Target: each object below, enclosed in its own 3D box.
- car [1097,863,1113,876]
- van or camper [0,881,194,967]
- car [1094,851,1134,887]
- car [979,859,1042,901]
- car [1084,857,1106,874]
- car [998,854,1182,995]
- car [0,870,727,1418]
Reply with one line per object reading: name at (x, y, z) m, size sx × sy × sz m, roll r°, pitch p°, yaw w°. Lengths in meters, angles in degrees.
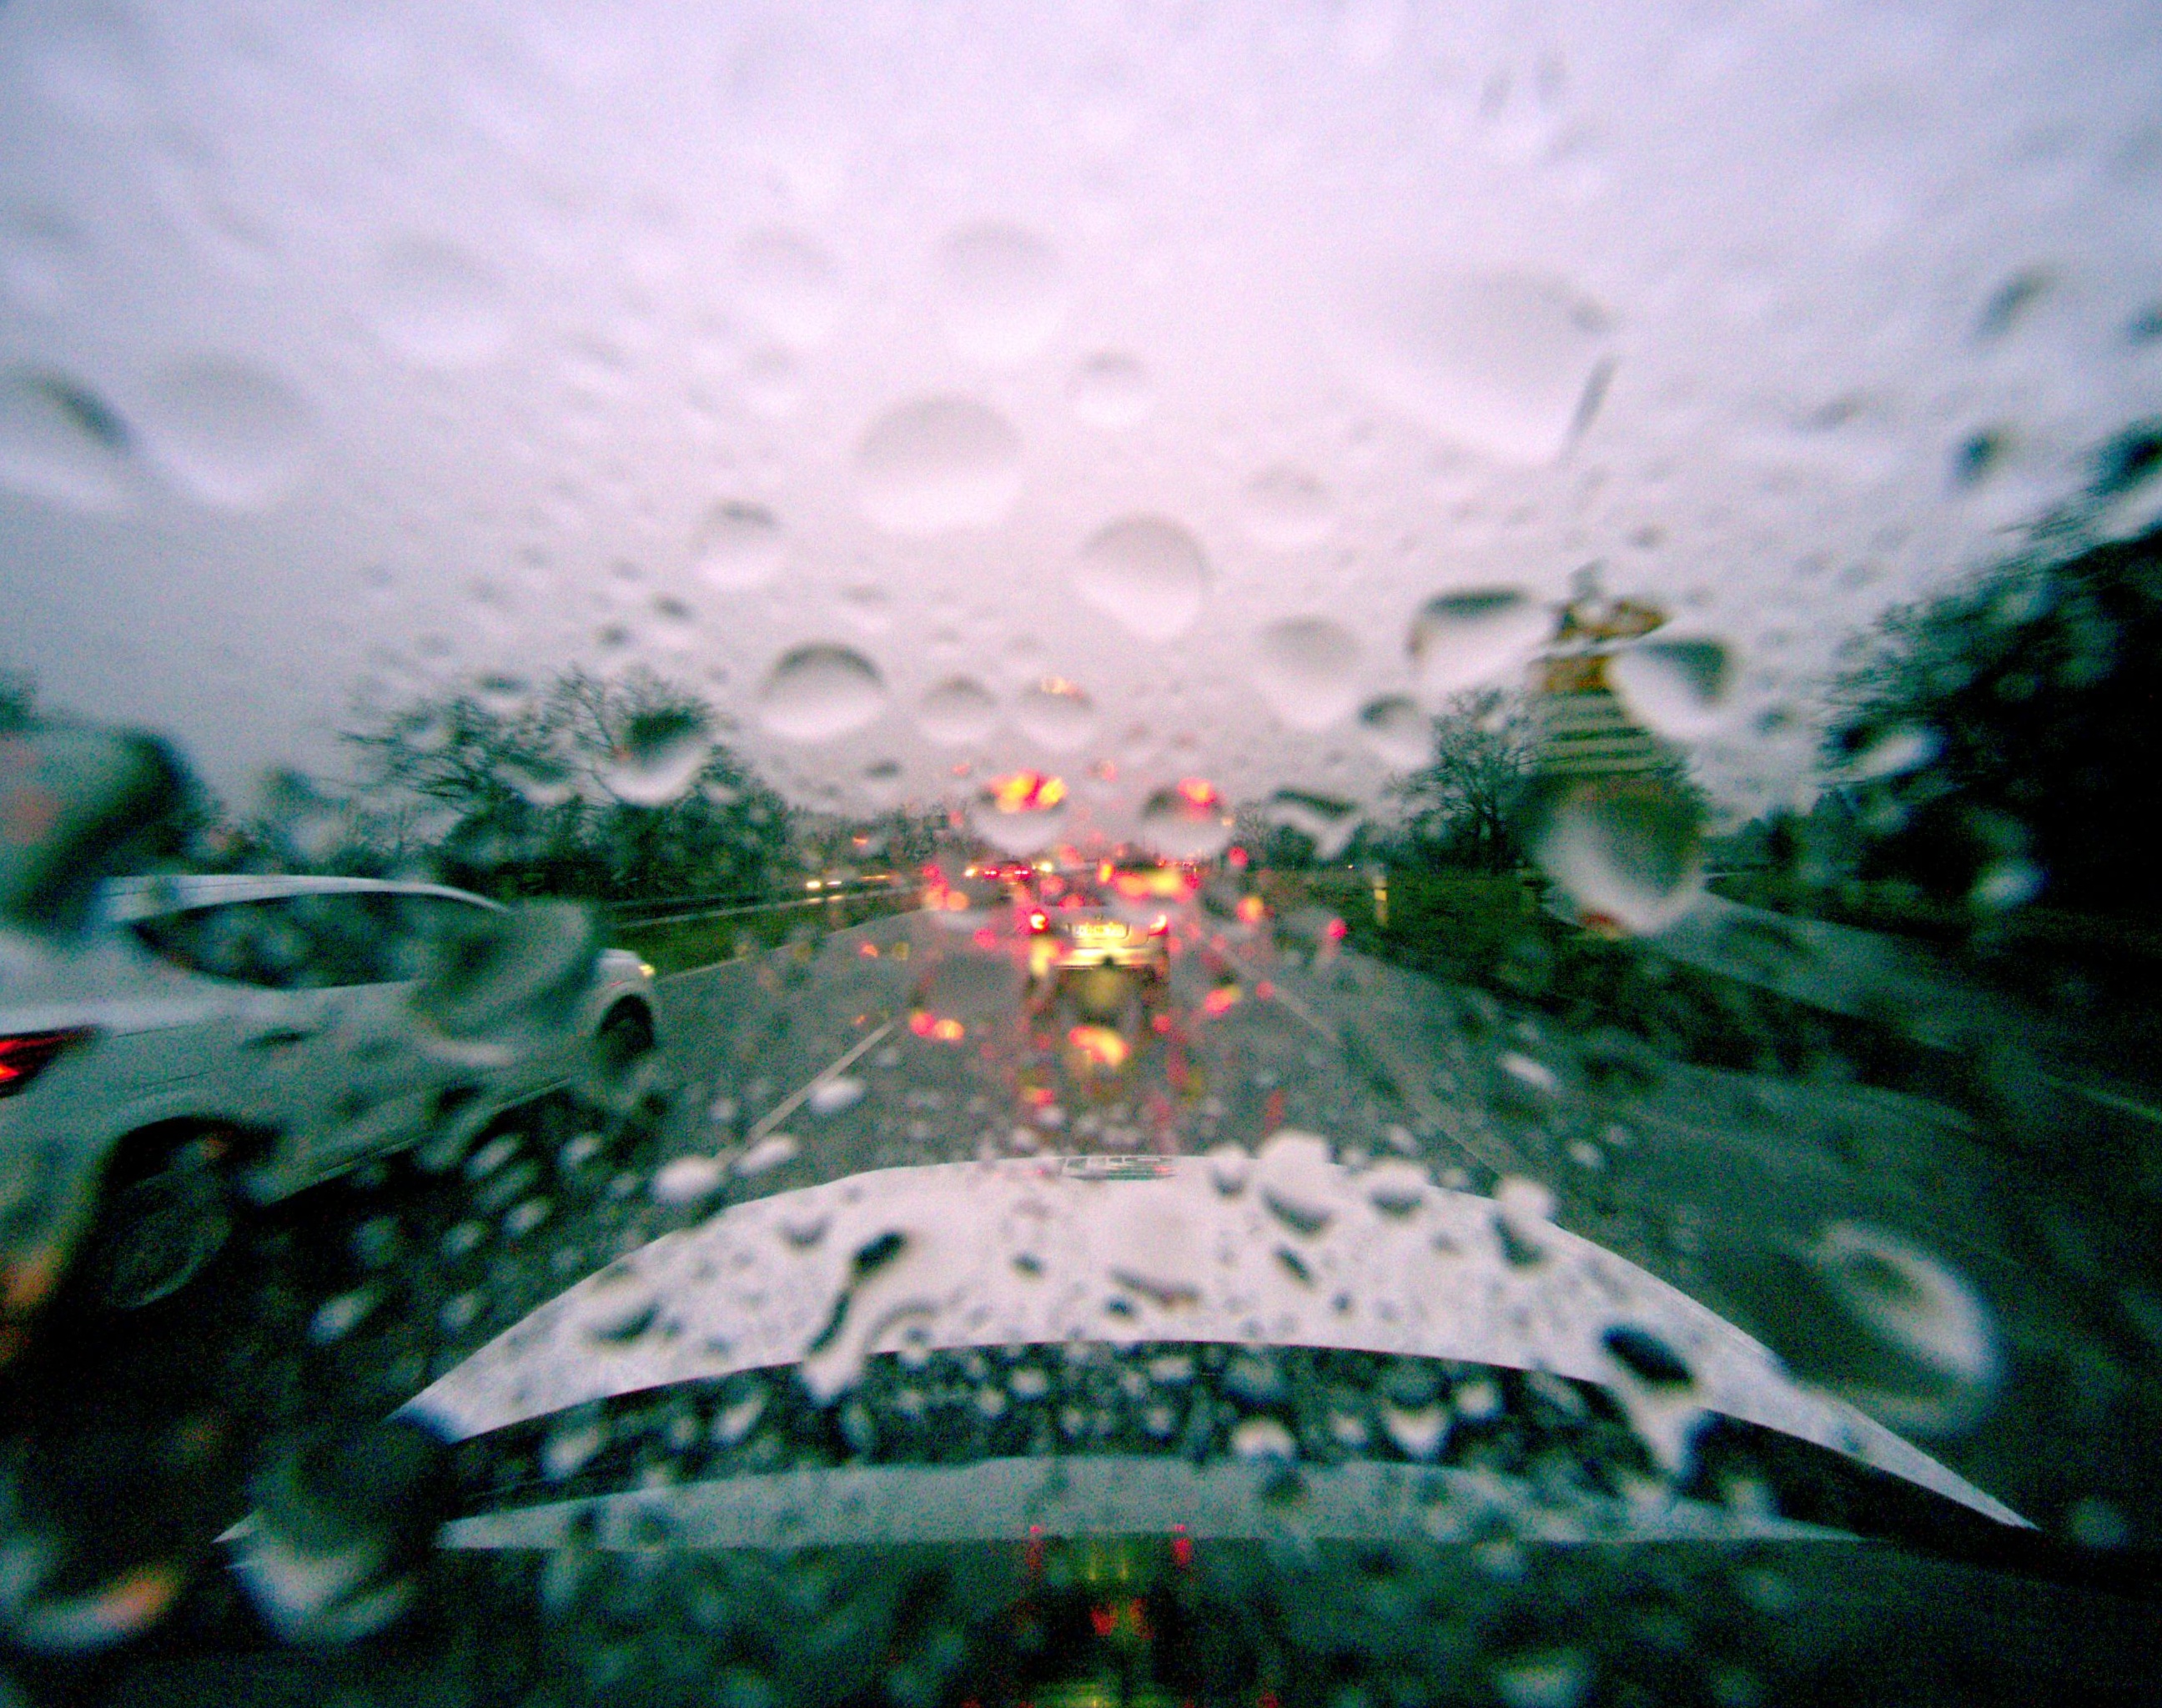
car at (3.002, 1.879, 102.701) m, size 1.781 × 1.545 × 4.005 m, roll -2°, pitch -1°, yaw 4°
van or camper at (-23.959, 1.581, 19.030) m, size 1.641 × 1.784 × 4.213 m, roll -2°, pitch -1°, yaw 5°
car at (1.831, 0.790, 44.067) m, size 1.888 × 1.767 × 4.314 m, roll -2°, pitch 0°, yaw 5°
car at (-2.810, 0.997, 33.355) m, size 1.985 × 1.601 × 4.312 m, roll 0°, pitch 0°, yaw 3°
car at (1.362, 1.095, 78.431) m, size 1.781 × 1.545 × 4.005 m, roll -2°, pitch 0°, yaw 4°
car at (0.226, 0.809, 11.004) m, size 1.985 × 1.500 × 4.141 m, roll -2°, pitch -1°, yaw 4°
car at (-3.709, 0.866, 4.064) m, size 1.716 × 1.440 × 4.231 m, roll -2°, pitch 0°, yaw 5°
